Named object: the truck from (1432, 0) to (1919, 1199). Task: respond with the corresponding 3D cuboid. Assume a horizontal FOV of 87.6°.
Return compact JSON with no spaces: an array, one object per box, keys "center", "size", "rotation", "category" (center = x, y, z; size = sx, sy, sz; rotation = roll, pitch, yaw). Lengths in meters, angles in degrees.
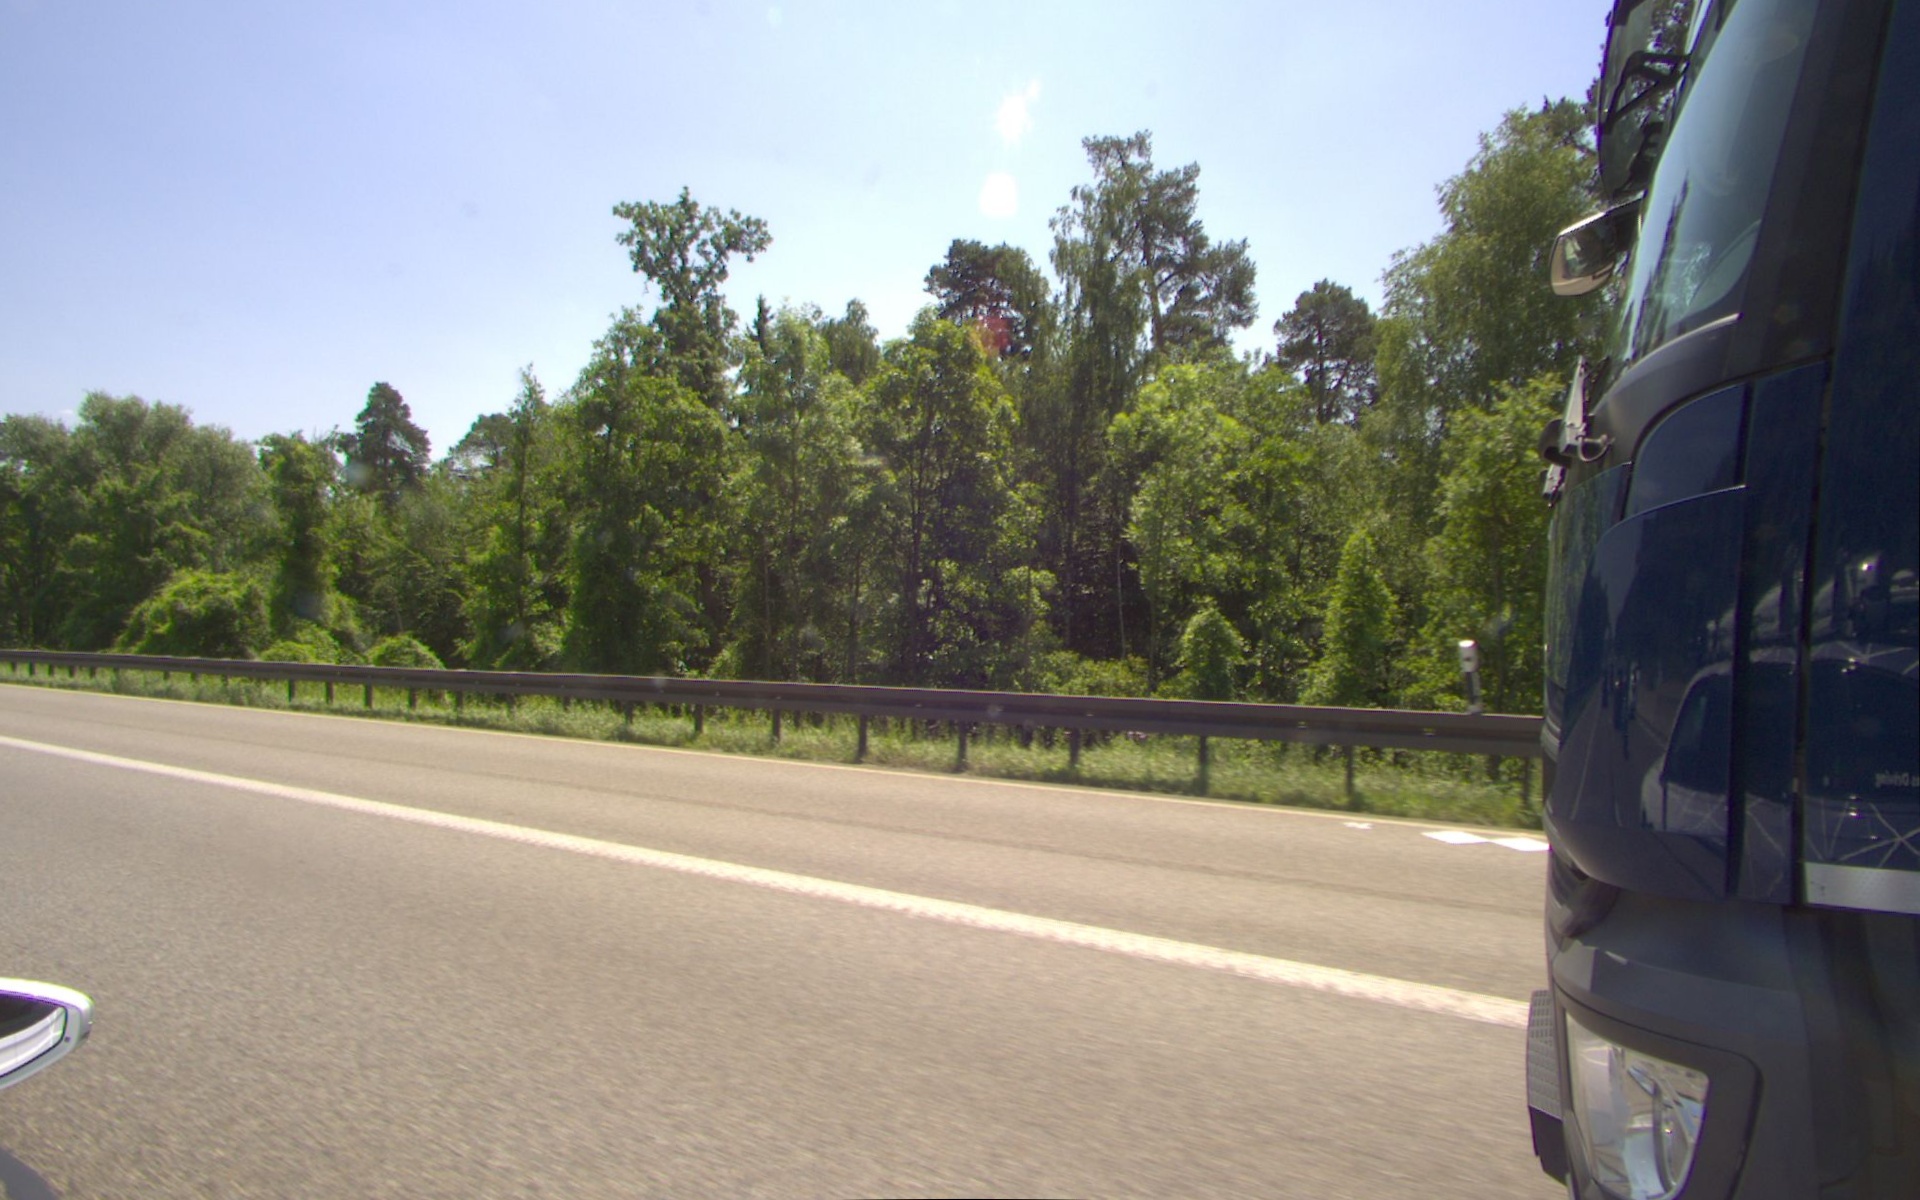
[{"center":[2.985,0.015,1.219],"size":[4.047,2.979,2.550],"rotation":[-2,-1,33],"category":"truck"}]
